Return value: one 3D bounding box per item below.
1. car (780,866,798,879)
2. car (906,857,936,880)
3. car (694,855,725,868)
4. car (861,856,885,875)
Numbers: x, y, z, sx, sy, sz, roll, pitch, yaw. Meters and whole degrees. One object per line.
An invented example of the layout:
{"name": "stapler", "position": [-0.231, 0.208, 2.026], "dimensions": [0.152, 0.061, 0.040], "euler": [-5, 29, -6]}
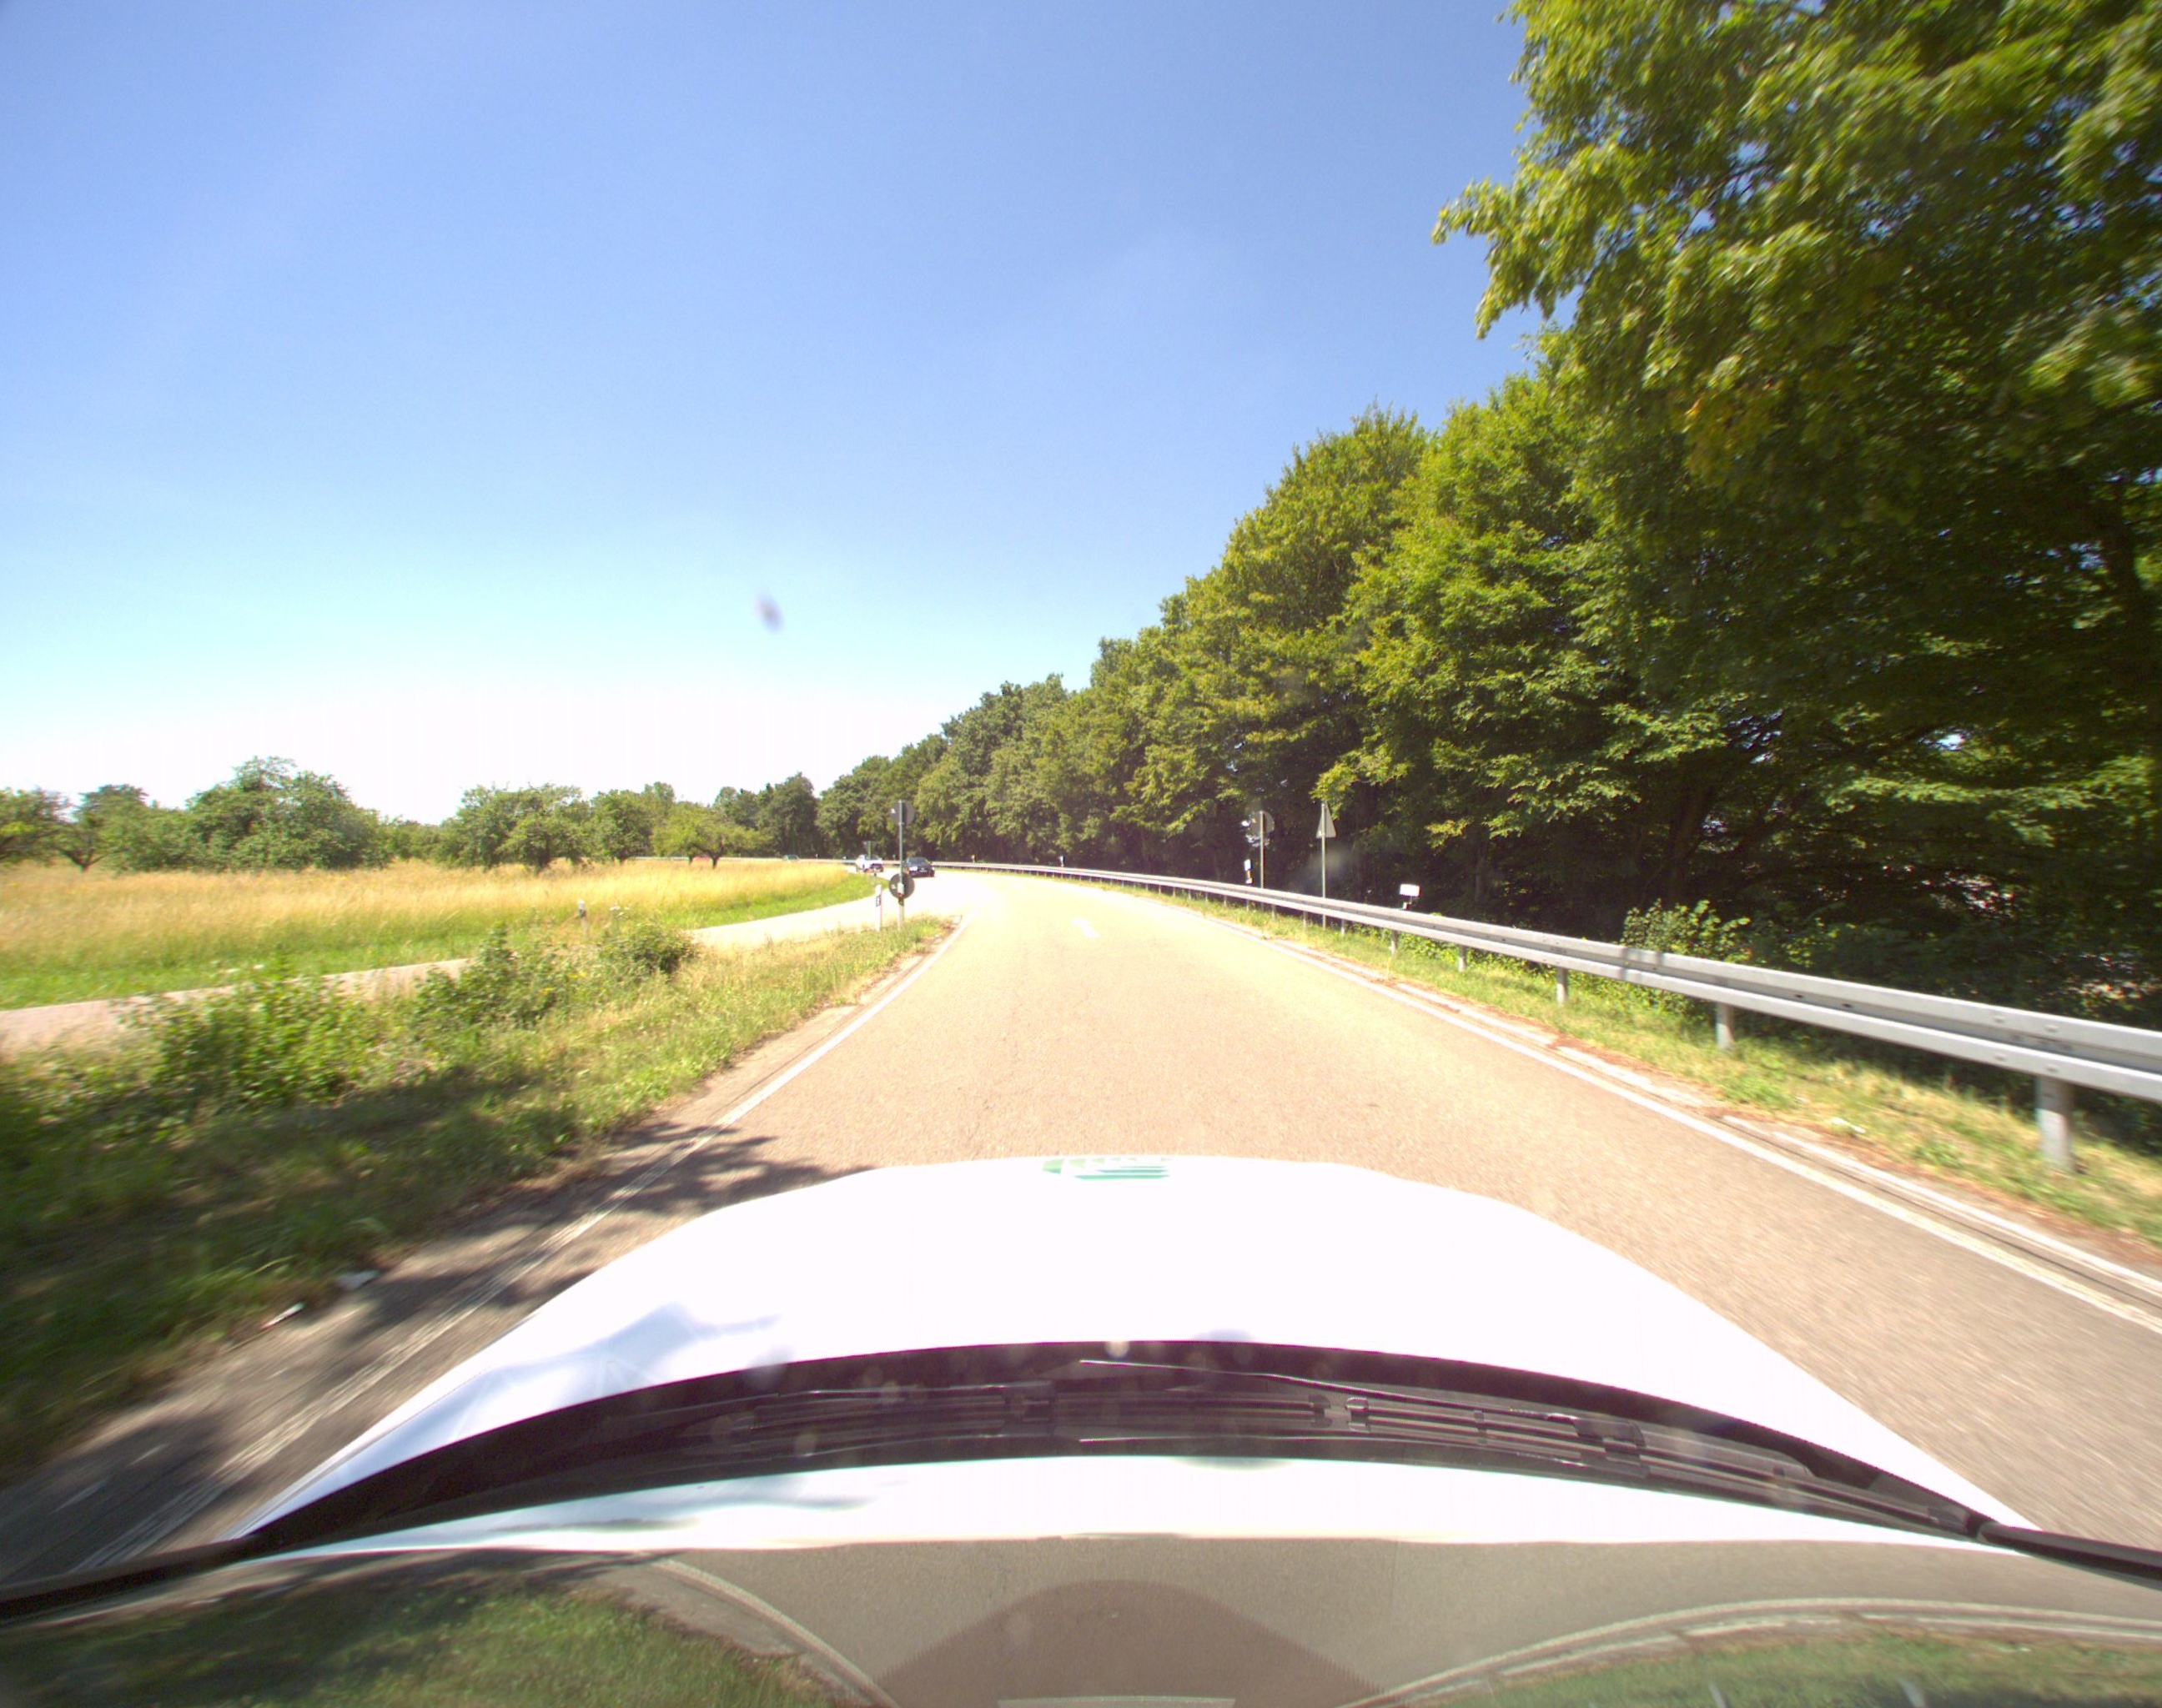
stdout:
{"name": "car", "position": [-35.091, 2.195, 97.895], "dimensions": [1.743, 1.507, 4.040], "euler": [0, -1, -24]}
{"name": "car", "position": [-11.699, 1.026, 59.424], "dimensions": [1.805, 1.506, 4.634], "euler": [-3, 0, -15]}
{"name": "car", "position": [-53.081, 1.064, 116.309], "dimensions": [4.343, 1.458, 1.840], "euler": [-4, 0, 30]}
{"name": "car", "position": [-19.267, 1.056, 75.220], "dimensions": [1.828, 1.590, 4.191], "euler": [-4, 0, -18]}
